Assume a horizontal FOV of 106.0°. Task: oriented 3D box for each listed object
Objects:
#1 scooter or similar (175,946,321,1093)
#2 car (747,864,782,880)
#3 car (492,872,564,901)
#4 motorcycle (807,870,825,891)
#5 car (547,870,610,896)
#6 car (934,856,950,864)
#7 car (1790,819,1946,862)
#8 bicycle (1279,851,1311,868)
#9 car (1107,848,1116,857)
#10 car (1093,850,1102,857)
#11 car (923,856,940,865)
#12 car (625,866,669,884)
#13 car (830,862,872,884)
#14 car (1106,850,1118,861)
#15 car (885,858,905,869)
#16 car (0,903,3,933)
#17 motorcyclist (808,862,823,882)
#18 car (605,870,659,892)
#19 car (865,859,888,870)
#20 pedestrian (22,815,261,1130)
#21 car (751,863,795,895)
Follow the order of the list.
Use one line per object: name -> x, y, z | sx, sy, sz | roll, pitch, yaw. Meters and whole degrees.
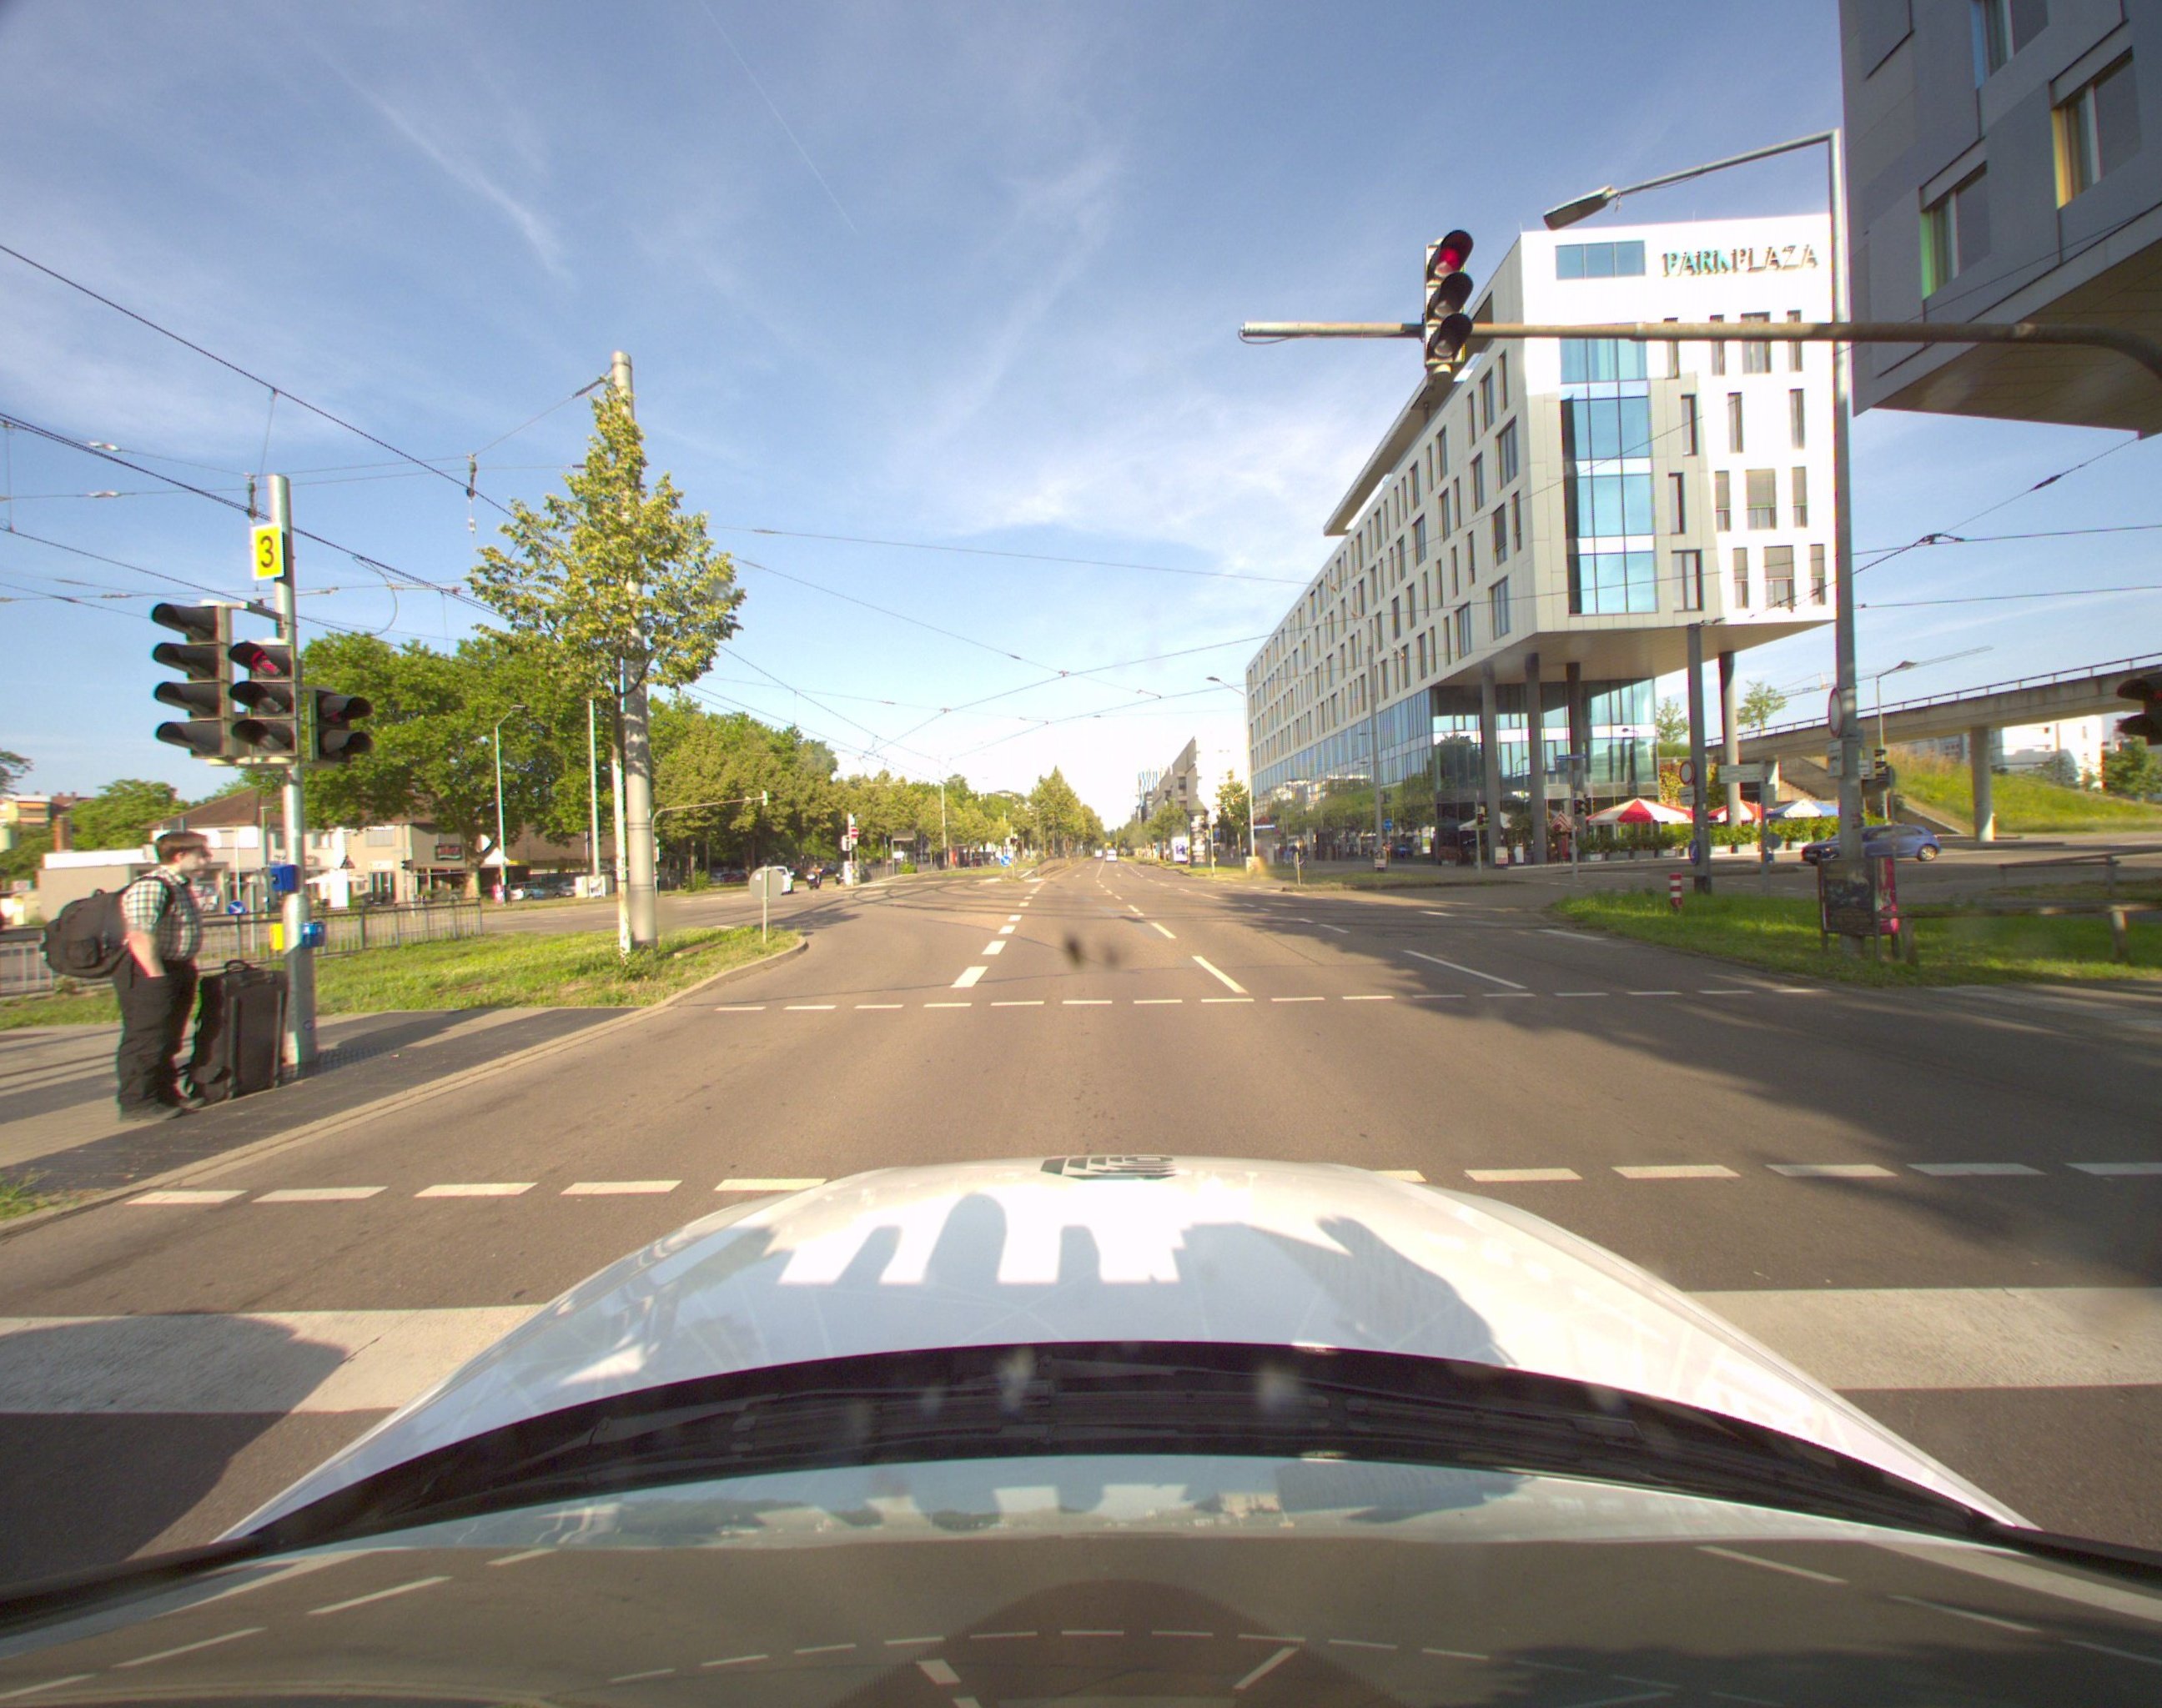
scooter or similar -> -5.667, 1.111, 5.560 | 0.546, 0.907, 0.430 | -1, 0, 2
car -> -34.750, 1.925, 89.609 | 1.871, 1.559, 4.008 | -3, 0, 7
car -> -38.233, 2.222, 56.460 | 1.871, 1.750, 4.008 | -3, 0, 7
motorcycle -> -16.621, 1.647, 51.098 | 0.819, 1.263, 2.537 | -1, 0, -13
car -> -37.715, 2.166, 61.211 | 1.871, 1.750, 4.008 | -3, 0, 7
car -> -26.794, 1.138, 156.824 | 1.871, 1.559, 4.008 | -3, 0, 7
car -> 30.228, -0.512, 31.385 | 4.170, 1.424, 1.859 | -3, 0, 1
bicycle -> 13.872, 0.325, 52.820 | 0.778, 1.032, 1.856 | -2, 2, -42
car -> 6.354, -0.342, 167.445 | 1.857, 1.684, 4.003 | 0, 1, 2
car -> 4.067, -0.084, 201.165 | 2.007, 1.684, 4.003 | 0, 1, 2
car -> -27.545, 1.214, 150.414 | 1.871, 1.559, 4.008 | -3, 0, 7
car -> -43.785, 2.115, 82.170 | 1.871, 1.559, 4.008 | -3, 0, 7
car -> -17.249, 1.422, 61.229 | 1.723, 1.461, 4.574 | -3, -1, 1
car -> 5.061, 0.274, 133.024 | 1.857, 1.684, 4.003 | 0, 1, 2
car -> -29.706, 1.483, 130.027 | 1.871, 1.559, 4.008 | -3, 0, 7
car -> -63.534, 3.737, 45.652 | 3.964, 1.728, 2.005 | -2, 0, 8
motorcyclist -> -16.539, 1.094, 50.754 | 0.783, 1.202, 0.843 | -1, 0, -14
car -> -37.026, 2.189, 67.253 | 1.871, 1.559, 4.008 | -3, 0, 7
car -> -30.670, 1.580, 122.122 | 1.871, 1.559, 4.008 | -3, 0, 7
pedestrian -> -5.689, 0.676, 4.969 | 0.697, 1.792, 0.636 | -1, 0, 2
car -> -16.036, 1.318, 42.576 | 2.000, 1.504, 4.066 | -1, -2, -19
